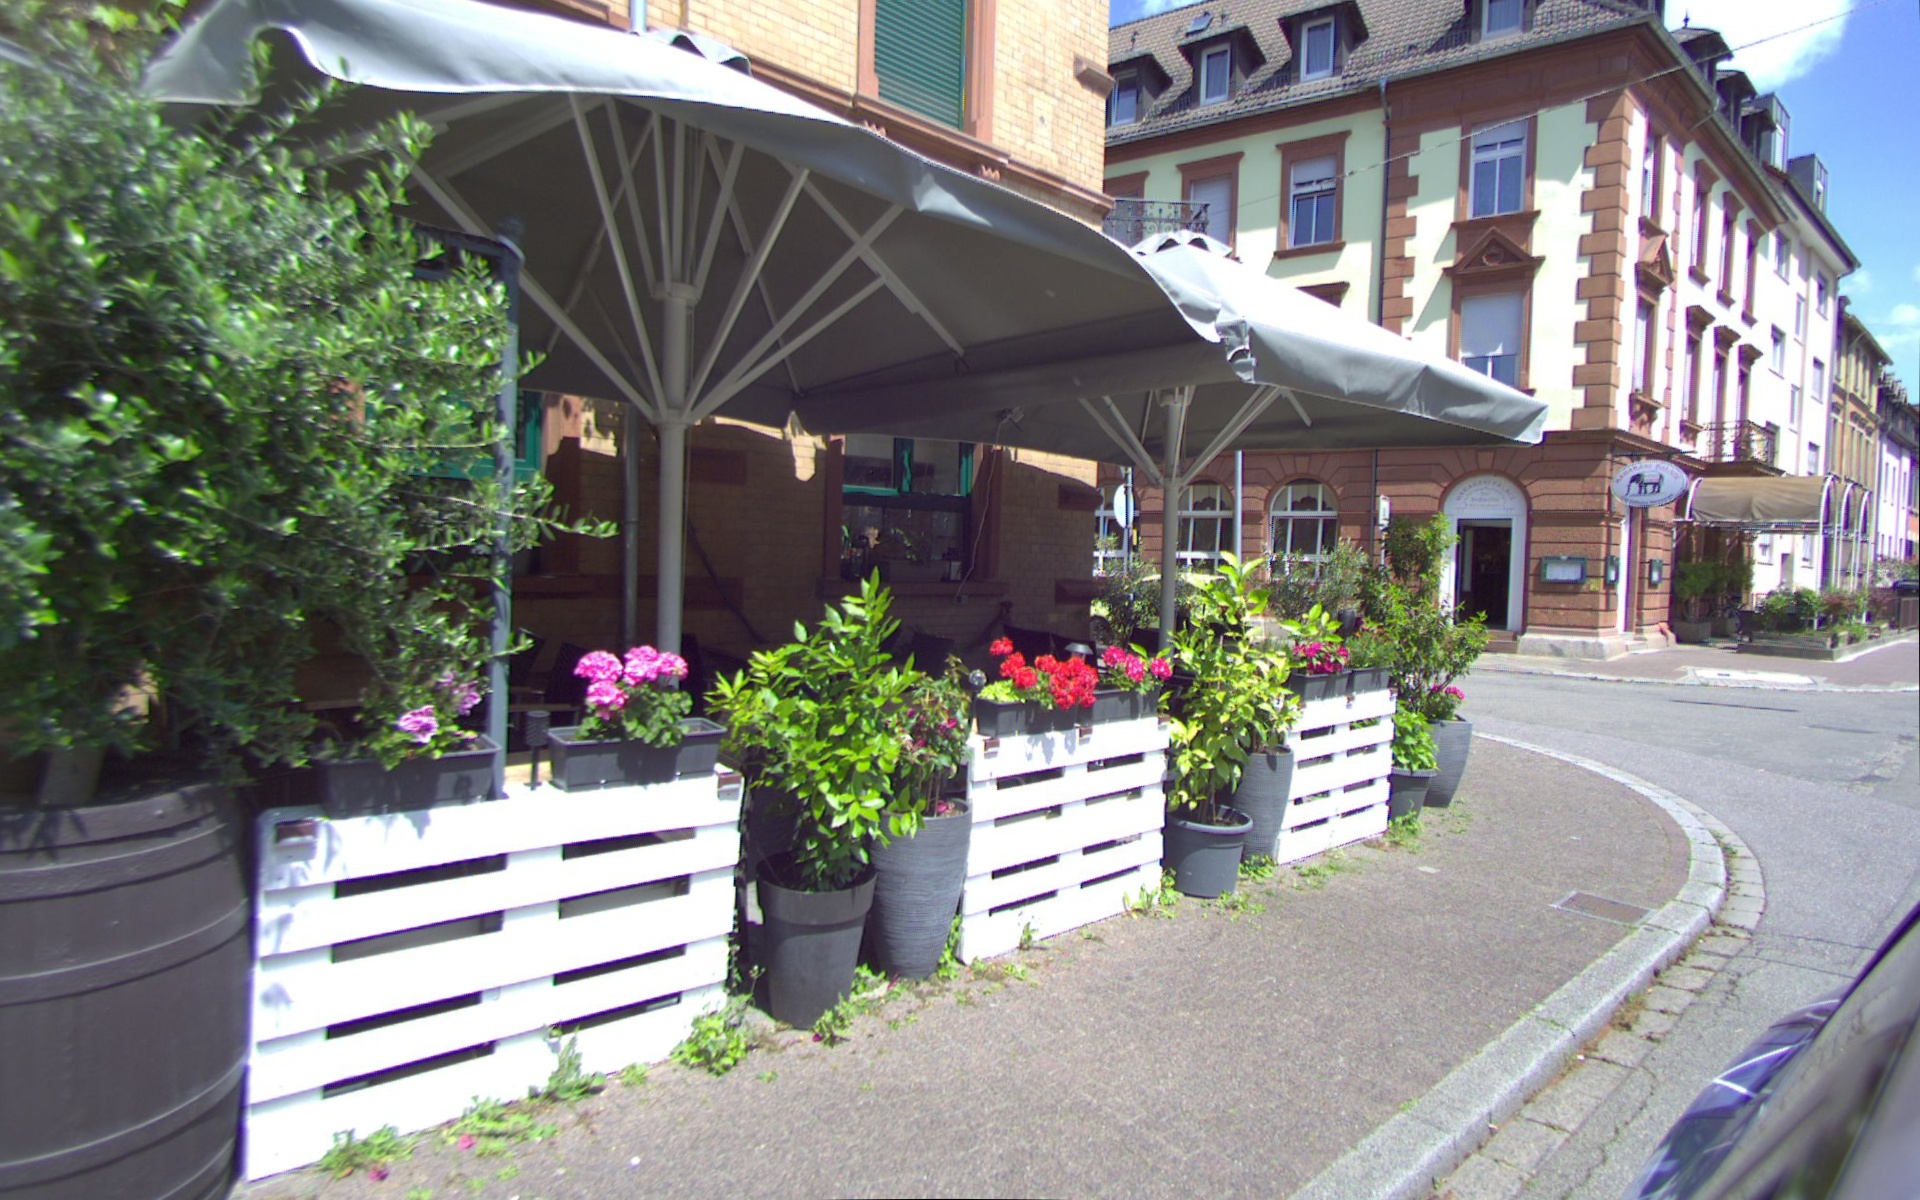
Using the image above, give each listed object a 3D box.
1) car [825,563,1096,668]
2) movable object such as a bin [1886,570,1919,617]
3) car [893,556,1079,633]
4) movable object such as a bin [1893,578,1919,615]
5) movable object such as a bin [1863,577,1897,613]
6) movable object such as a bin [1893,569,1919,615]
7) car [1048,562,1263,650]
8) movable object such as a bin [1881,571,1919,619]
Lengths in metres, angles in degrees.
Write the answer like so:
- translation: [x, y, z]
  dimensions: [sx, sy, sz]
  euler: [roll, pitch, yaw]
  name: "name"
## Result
- translation: [-0.059, 0.156, 16.053]
  dimensions: [3.979, 1.381, 1.890]
  euler: [3, 2, 38]
  name: "car"
- translation: [29.720, -0.197, 31.366]
  dimensions: [1.340, 1.413, 1.285]
  euler: [-1, 3, -41]
  name: "movable object such as a bin"
- translation: [0.553, -0.195, 23.147]
  dimensions: [3.976, 1.497, 1.782]
  euler: [3, 5, 36]
  name: "car"
- translation: [31.445, -0.125, 33.484]
  dimensions: [0.734, 1.182, 0.722]
  euler: [-1, 3, -43]
  name: "movable object such as a bin"
- translation: [30.923, -0.182, 34.016]
  dimensions: [0.734, 1.182, 0.722]
  euler: [-1, 3, -43]
  name: "movable object such as a bin"
- translation: [30.741, -0.239, 32.243]
  dimensions: [1.282, 1.427, 1.285]
  euler: [-1, 3, -41]
  name: "movable object such as a bin"
- translation: [3.946, 0.045, 20.686]
  dimensions: [3.976, 1.497, 1.782]
  euler: [3, 5, 36]
  name: "car"
- translation: [28.695, -0.153, 30.423]
  dimensions: [1.388, 1.413, 1.285]
  euler: [-1, 3, -41]
  name: "movable object such as a bin"
